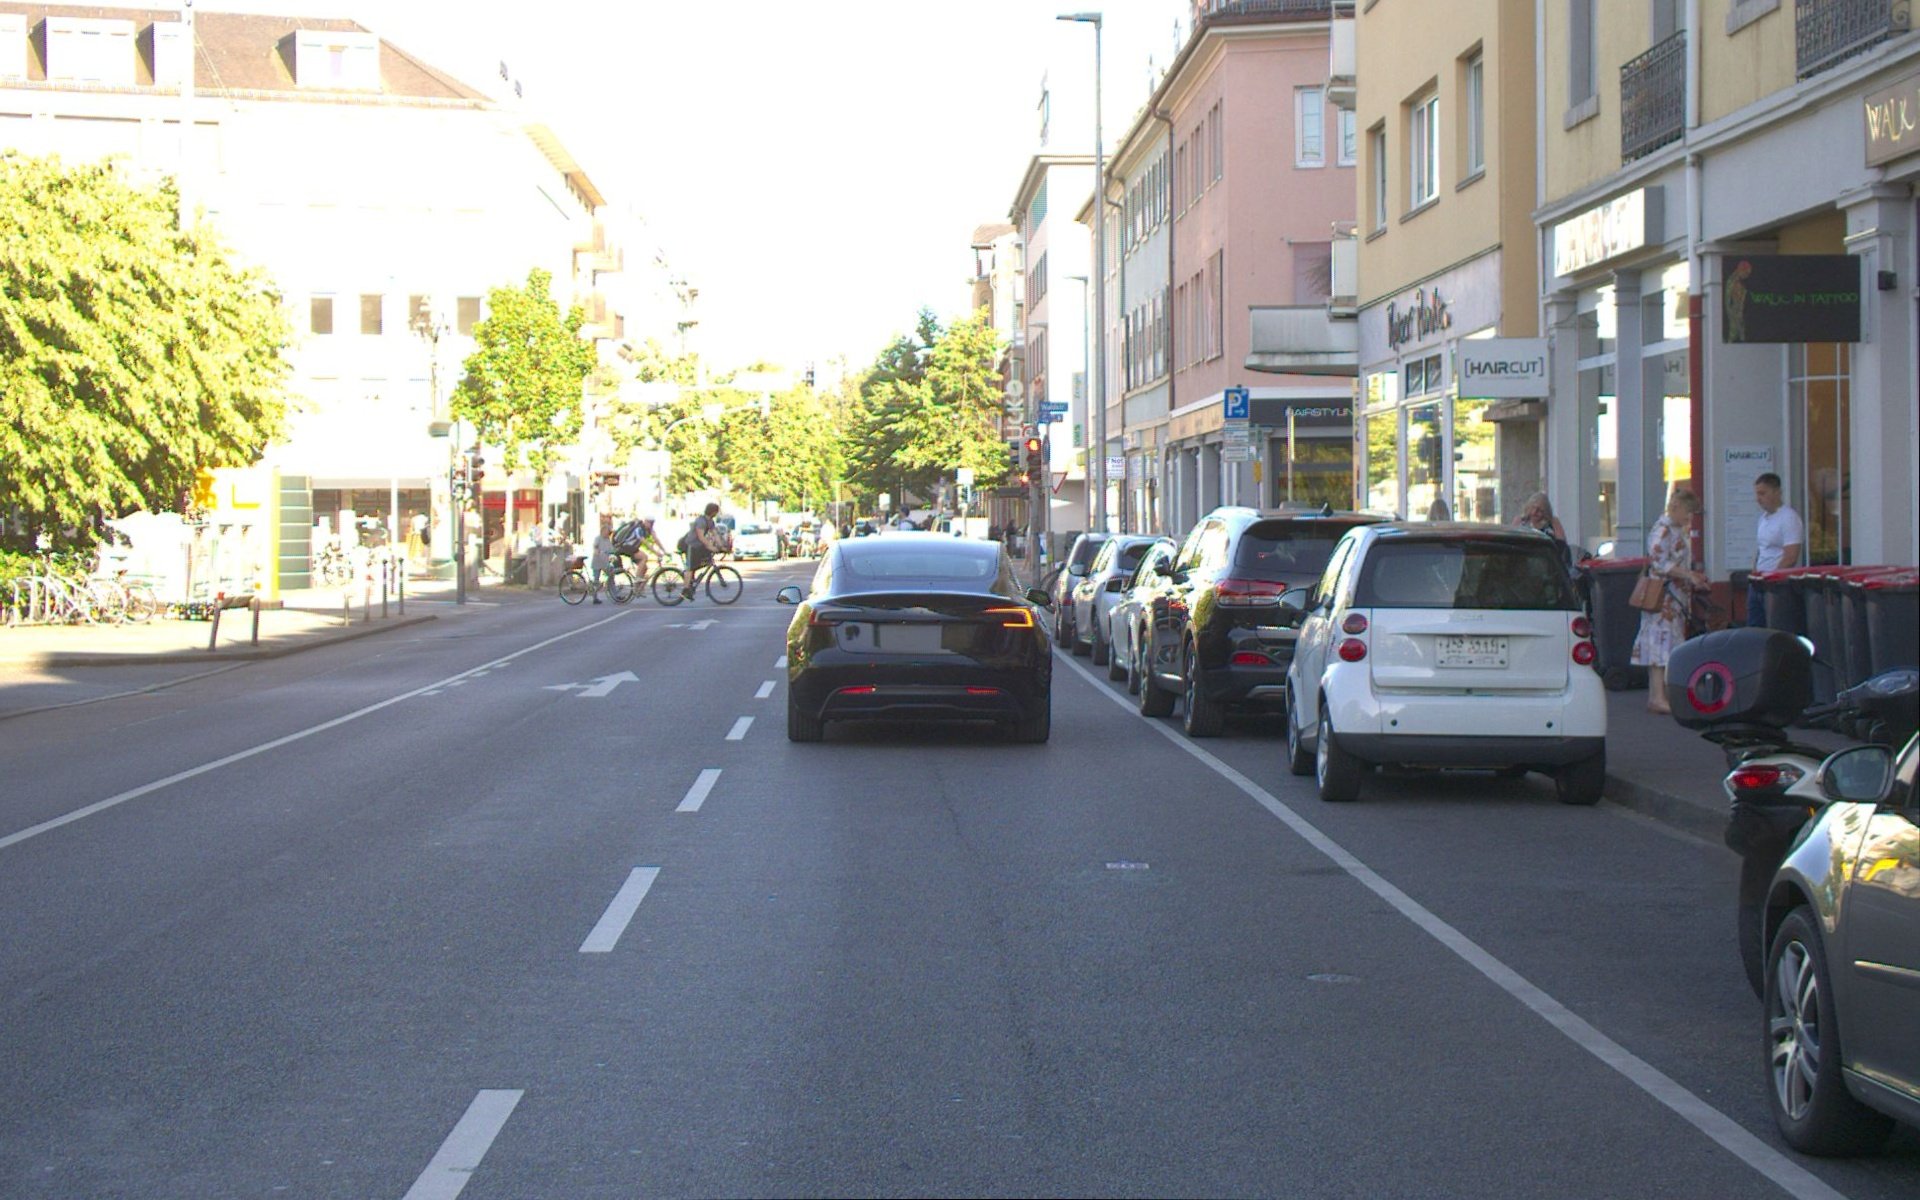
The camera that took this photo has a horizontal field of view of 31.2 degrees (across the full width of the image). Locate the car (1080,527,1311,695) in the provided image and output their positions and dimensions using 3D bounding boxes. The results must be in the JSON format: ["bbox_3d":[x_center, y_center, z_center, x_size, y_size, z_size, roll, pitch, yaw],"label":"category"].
[{"bbox_3d":[2.159,0.084,32.465,1.792,1.455,4.084,1,0,-1],"label":"car"}]

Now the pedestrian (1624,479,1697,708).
[{"bbox_3d":[5.049,-0.057,24.766,0.471,1.630,0.513,0,1,15],"label":"pedestrian"}]

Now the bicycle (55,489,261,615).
[{"bbox_3d":[-12.935,-0.785,55.474,3.122,2.007,0.908,0,1,8],"label":"bicycle"}]

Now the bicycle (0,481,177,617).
[{"bbox_3d":[-13.371,-0.769,51.390,3.122,2.007,0.908,0,1,8],"label":"bicycle"}]

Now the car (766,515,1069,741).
[{"bbox_3d":[-0.376,0.175,25.197,1.995,1.475,4.495,1,0,-2],"label":"car"}]

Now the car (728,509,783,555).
[{"bbox_3d":[-8.371,-2.795,140.936,1.993,1.765,4.000,1,2,0],"label":"car"}]

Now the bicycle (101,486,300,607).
[{"bbox_3d":[-12.708,-0.901,57.556,3.122,2.007,0.908,0,1,8],"label":"bicycle"}]

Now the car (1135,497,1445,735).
[{"bbox_3d":[2.402,0.099,25.975,1.716,1.630,4.085,1,0,-3],"label":"car"}]

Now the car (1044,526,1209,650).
[{"bbox_3d":[2.046,-0.155,43.214,1.792,1.455,3.868,1,0,-1],"label":"car"}]

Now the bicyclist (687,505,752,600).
[{"bbox_3d":[-4.294,-0.859,61.410,1.146,1.680,0.919,0,1,-4],"label":"bicyclist"}]

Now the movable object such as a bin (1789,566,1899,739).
[{"bbox_3d":[5.573,0.322,21.687,0.478,1.048,0.632,-2,1,-2],"label":"movable object such as a bin"}]

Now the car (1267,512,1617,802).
[{"bbox_3d":[2.753,0.275,20.152,1.613,1.541,2.855,1,2,0],"label":"car"}]

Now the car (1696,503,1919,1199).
[{"bbox_3d":[2.996,0.587,7.197,1.839,1.541,4.229,1,2,-2],"label":"car"}]

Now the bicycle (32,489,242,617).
[{"bbox_3d":[-13.012,-0.754,54.390,3.122,2.007,0.908,0,1,8],"label":"bicycle"}]

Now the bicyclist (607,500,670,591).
[{"bbox_3d":[-6.012,-1.021,64.322,1.146,1.680,0.819,0,1,-4],"label":"bicyclist"}]

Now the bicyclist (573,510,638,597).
[{"bbox_3d":[-6.892,-0.915,66.872,1.146,1.680,0.915,0,1,2],"label":"bicyclist"}]

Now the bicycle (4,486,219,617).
[{"bbox_3d":[-13.158,-0.764,53.342,3.122,2.007,0.908,0,1,8],"label":"bicycle"}]

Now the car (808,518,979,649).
[{"bbox_3d":[-0.741,-0.238,41.159,1.935,1.482,4.271,0,1,0],"label":"car"}]

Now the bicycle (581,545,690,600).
[{"bbox_3d":[-6.071,-0.514,64.333,2.011,1.018,0.762,0,1,-4],"label":"bicycle"}]

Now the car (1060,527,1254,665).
[{"bbox_3d":[2.178,-0.054,38.917,1.792,1.455,3.868,1,0,-2],"label":"car"}]

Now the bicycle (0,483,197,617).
[{"bbox_3d":[-13.277,-0.774,52.348,3.122,2.007,0.908,0,1,8],"label":"bicycle"}]

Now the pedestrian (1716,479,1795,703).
[{"bbox_3d":[5.829,-0.071,25.207,0.470,1.630,0.513,0,1,4],"label":"pedestrian"}]

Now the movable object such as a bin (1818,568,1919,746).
[{"bbox_3d":[5.596,0.341,21.019,0.495,1.048,0.632,-2,1,-2],"label":"movable object such as a bin"}]

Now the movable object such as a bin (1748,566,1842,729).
[{"bbox_3d":[5.525,0.308,22.756,0.455,1.048,0.500,-2,1,-2],"label":"movable object such as a bin"}]

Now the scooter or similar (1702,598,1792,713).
[{"bbox_3d":[5.594,0.392,24.418,0.579,0.777,0.466,-2,1,15],"label":"scooter or similar"}]

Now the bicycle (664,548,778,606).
[{"bbox_3d":[-4.268,-0.416,61.421,2.011,1.018,0.888,0,1,-4],"label":"bicycle"}]

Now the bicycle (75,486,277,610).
[{"bbox_3d":[-12.878,-0.869,56.517,3.122,2.007,0.908,0,1,8],"label":"bicycle"}]

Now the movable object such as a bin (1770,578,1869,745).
[{"bbox_3d":[5.560,0.391,22.250,0.478,1.048,0.468,-2,1,-2],"label":"movable object such as a bin"}]

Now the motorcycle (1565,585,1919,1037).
[{"bbox_3d":[2.833,0.630,11.280,0.656,1.323,2.039,1,2,43],"label":"motorcycle"}]

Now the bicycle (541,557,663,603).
[{"bbox_3d":[-6.956,-0.391,66.881,2.244,0.880,0.923,0,1,3],"label":"bicycle"}]

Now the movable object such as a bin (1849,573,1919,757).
[{"bbox_3d":[5.618,0.378,20.380,0.478,1.048,0.632,-2,1,-2],"label":"movable object such as a bin"}]
